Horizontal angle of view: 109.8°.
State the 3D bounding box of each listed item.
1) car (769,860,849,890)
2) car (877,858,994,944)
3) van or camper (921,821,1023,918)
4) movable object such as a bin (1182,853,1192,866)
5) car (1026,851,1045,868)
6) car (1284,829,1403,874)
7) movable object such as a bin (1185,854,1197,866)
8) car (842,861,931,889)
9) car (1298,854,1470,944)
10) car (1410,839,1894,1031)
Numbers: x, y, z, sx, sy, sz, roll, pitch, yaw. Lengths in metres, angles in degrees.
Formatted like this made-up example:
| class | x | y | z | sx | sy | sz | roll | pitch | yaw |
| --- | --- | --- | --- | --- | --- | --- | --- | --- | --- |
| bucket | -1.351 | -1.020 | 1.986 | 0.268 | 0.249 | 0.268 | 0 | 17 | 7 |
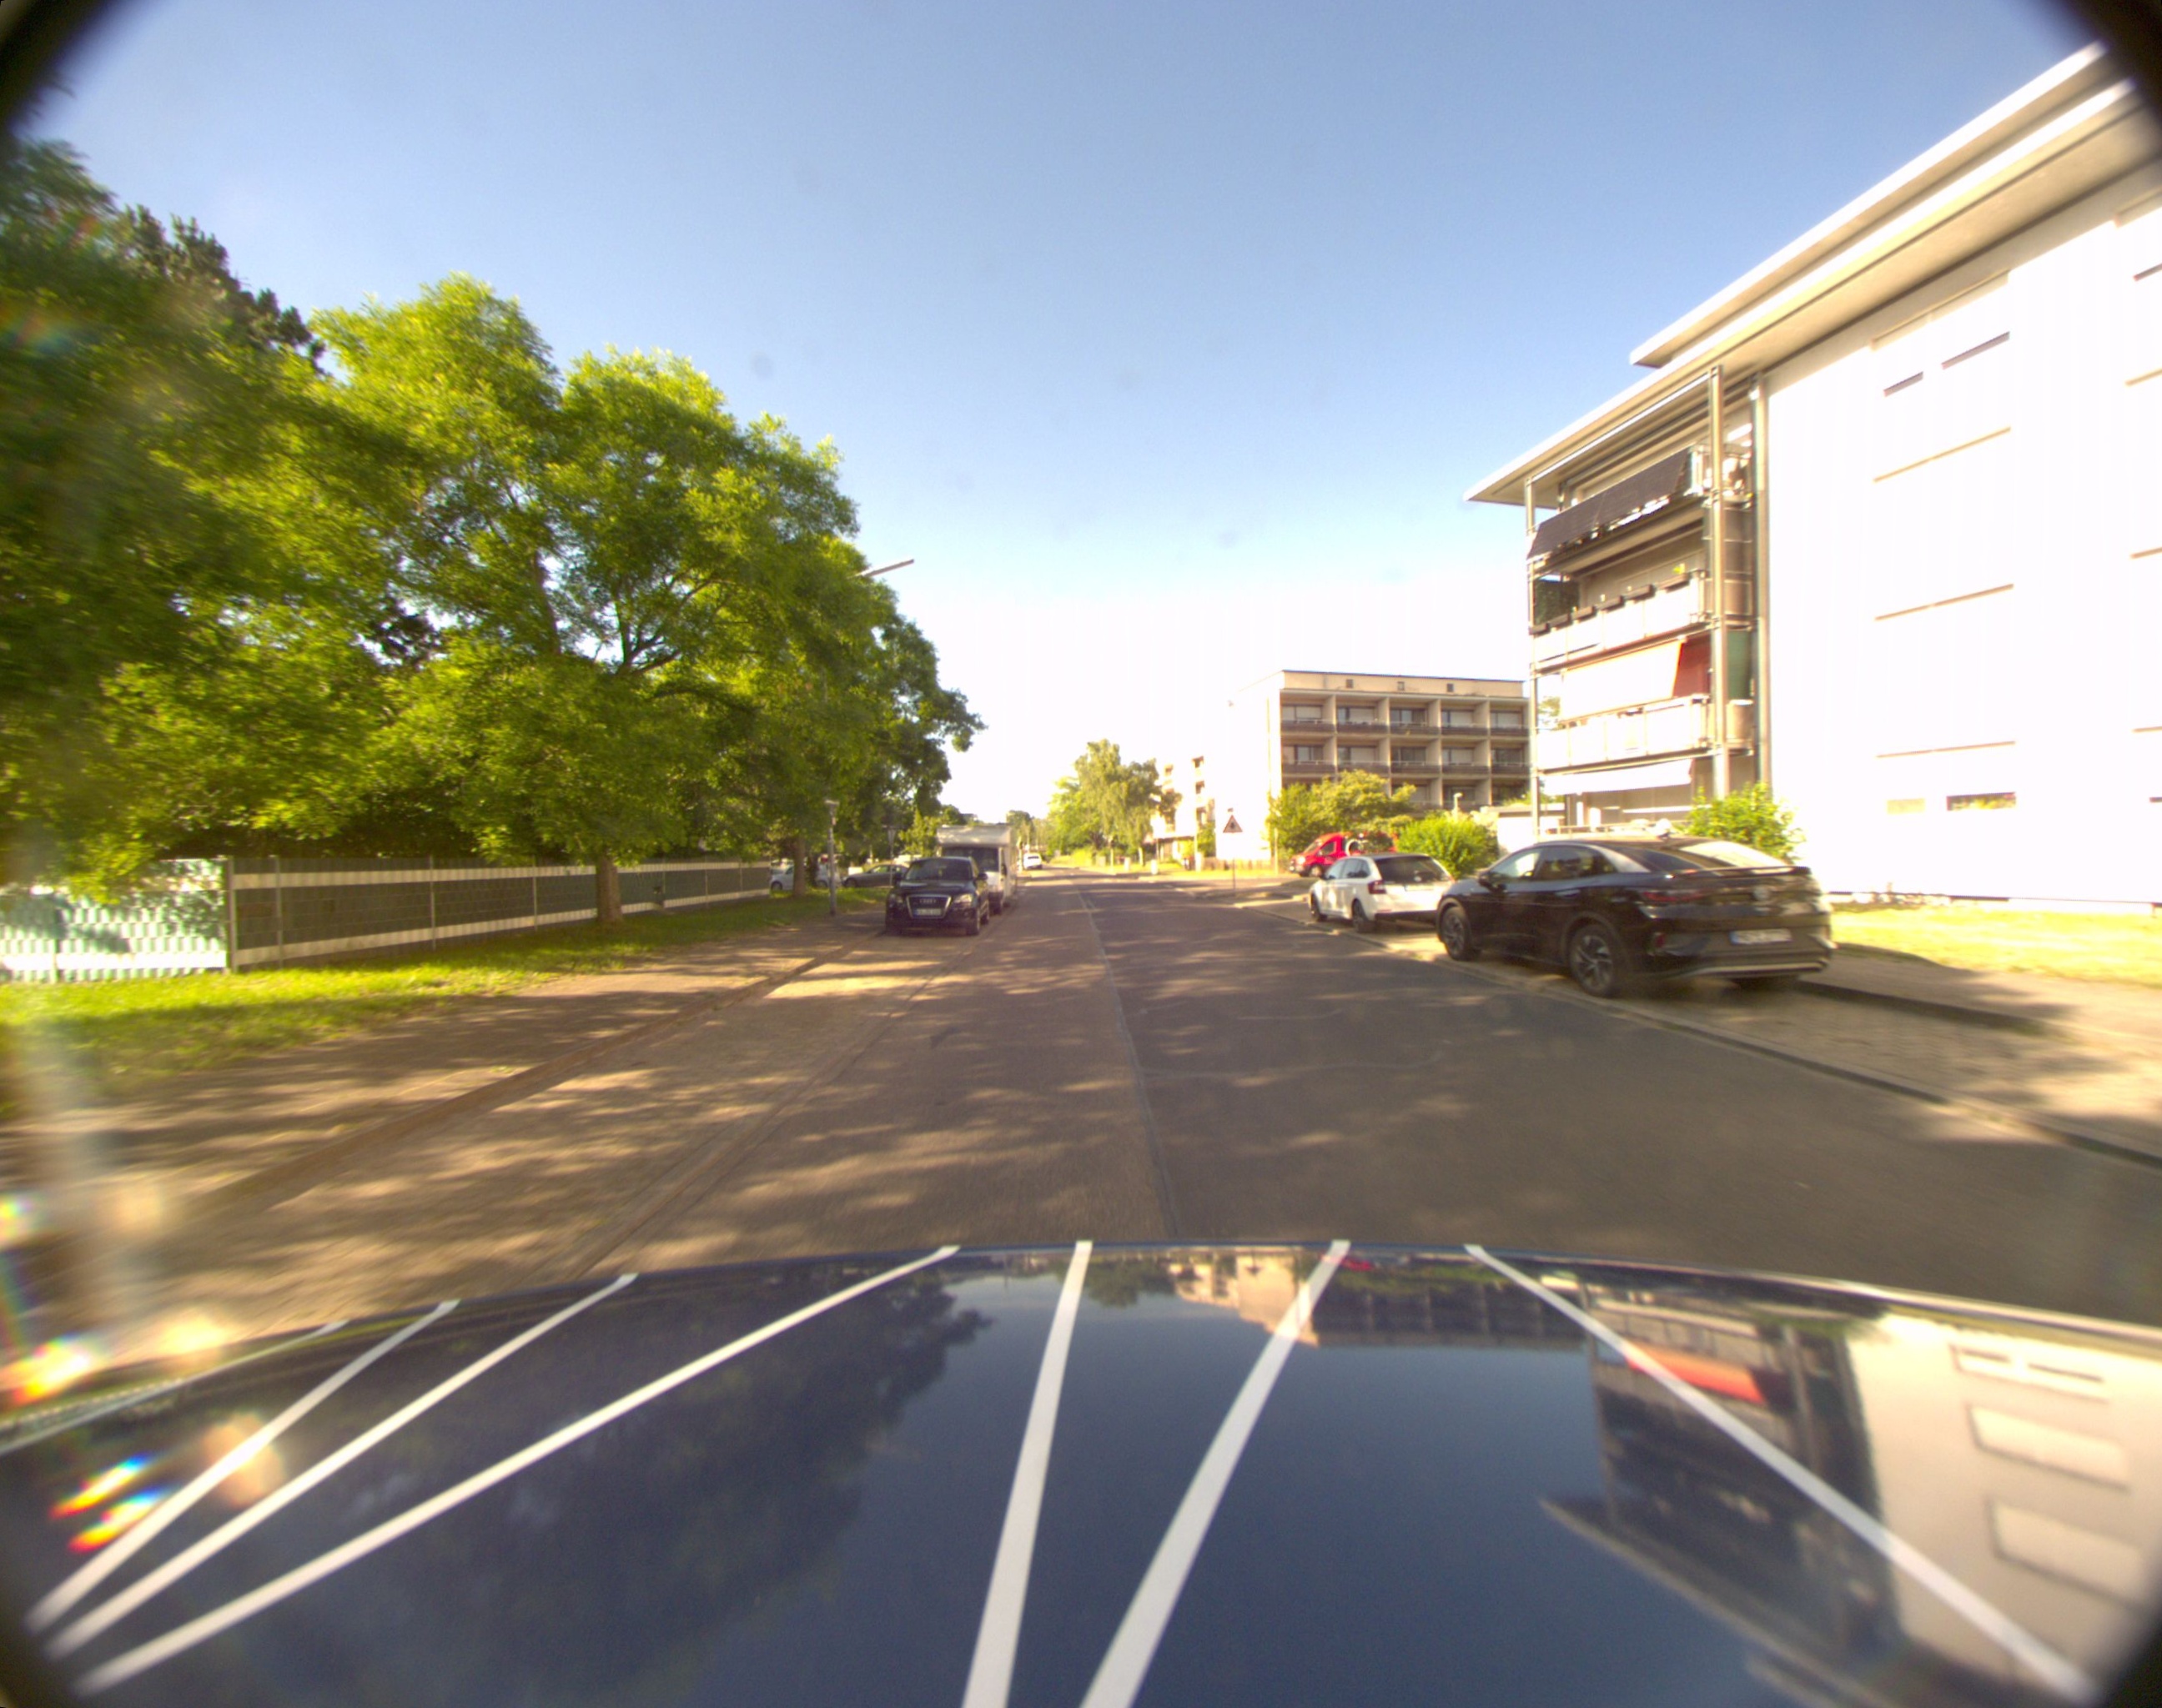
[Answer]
| class | x | y | z | sx | sy | sz | roll | pitch | yaw |
| --- | --- | --- | --- | --- | --- | --- | --- | --- | --- |
| car | -15.123 | 1.159 | 42.344 | 3.692 | 1.569 | 1.829 | -1 | 0 | 5 |
| car | -3.096 | 0.929 | 17.116 | 1.999 | 1.631 | 4.535 | 0 | 0 | -3 |
| van or camper | -3.209 | 0.424 | 23.902 | 2.358 | 2.581 | 6.424 | 1 | 0 | -1 |
| movable object such as a bin | 9.029 | 0.458 | 64.799 | 0.565 | 1.047 | 0.556 | -2 | 1 | -25 |
| car | -5.395 | 0.645 | 88.898 | 1.921 | 1.861 | 4.862 | -3 | 0 | -6 |
| car | 14.645 | -0.113 | 42.608 | 5.921 | 2.414 | 2.213 | -1 | -1 | -3 |
| movable object such as a bin | 9.291 | 0.508 | 64.213 | 0.629 | 1.042 | 0.701 | -2 | 1 | -26 |
| car | -10.713 | 1.172 | 42.084 | 4.436 | 1.329 | 1.746 | -2 | -1 | 2 |
| car | 5.789 | 0.767 | 15.142 | 1.651 | 1.458 | 4.330 | -2 | 0 | 0 |
| car | 5.906 | 0.664 | 8.854 | 1.919 | 1.594 | 4.810 | -1 | 1 | -2 |
